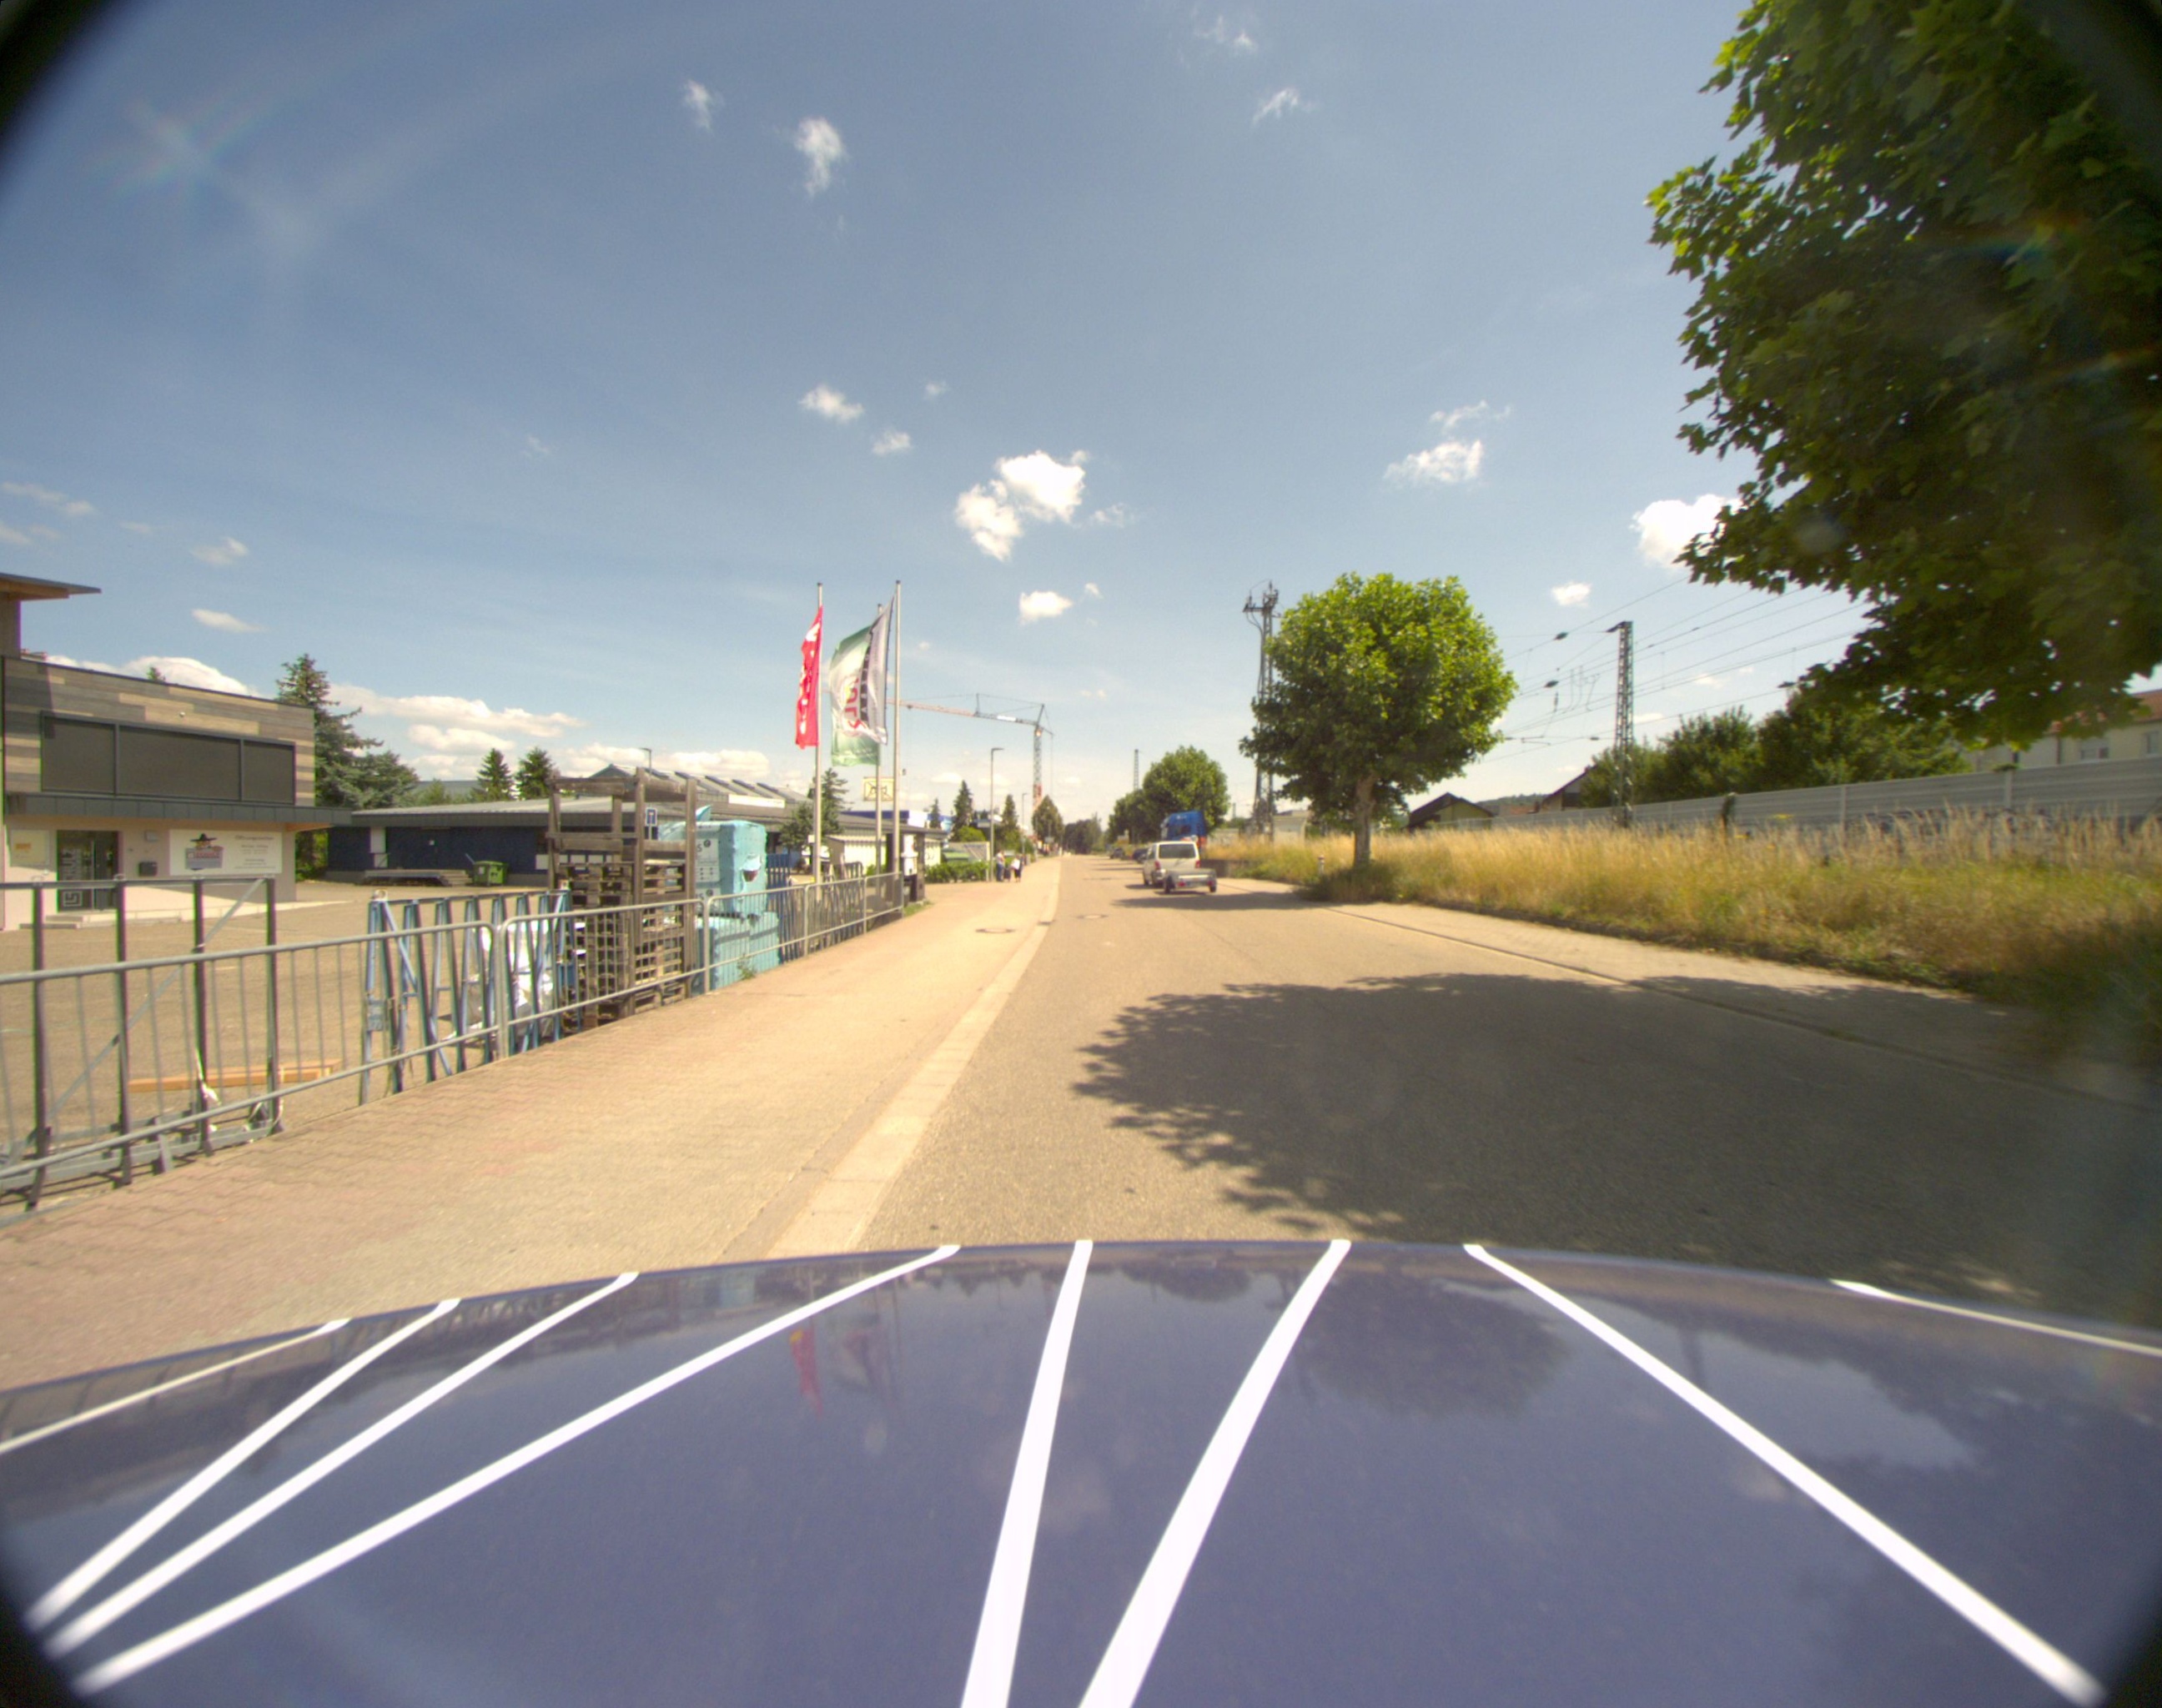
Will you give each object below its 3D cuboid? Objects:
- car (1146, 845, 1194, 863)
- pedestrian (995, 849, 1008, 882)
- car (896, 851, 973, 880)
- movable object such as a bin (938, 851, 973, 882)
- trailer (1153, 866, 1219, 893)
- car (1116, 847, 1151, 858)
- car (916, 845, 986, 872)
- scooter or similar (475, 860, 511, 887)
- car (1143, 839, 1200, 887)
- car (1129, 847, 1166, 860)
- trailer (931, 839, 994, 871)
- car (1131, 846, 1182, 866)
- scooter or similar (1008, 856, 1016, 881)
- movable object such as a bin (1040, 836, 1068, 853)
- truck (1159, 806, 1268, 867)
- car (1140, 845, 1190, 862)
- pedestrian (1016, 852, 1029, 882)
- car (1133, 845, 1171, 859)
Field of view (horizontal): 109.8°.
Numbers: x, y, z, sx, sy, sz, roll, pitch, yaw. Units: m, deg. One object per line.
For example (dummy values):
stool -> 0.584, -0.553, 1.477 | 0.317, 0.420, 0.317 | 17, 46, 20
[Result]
car -> 7.903, -0.007, 67.608 | 3.998, 1.539, 1.999 | -1, 1, -3
pedestrian -> -3.827, 0.542, 36.486 | 0.536, 1.531, 0.510 | 2, 1, -2
car -> -7.993, 0.620, 41.622 | 3.855, 1.447, 1.817 | -1, 1, 0
movable object such as a bin -> -6.045, 0.583, 36.496 | 1.270, 1.450, 1.046 | -2, 1, -38
trailer -> 3.712, 0.885, 27.435 | 1.823, 0.845, 4.222 | 1, 0, 1
car -> 6.968, -0.254, 100.831 | 4.439, 1.402, 1.787 | 0, 1, -3
car -> -8.302, 0.258, 48.863 | 4.224, 1.625, 1.799 | 1, 3, -2
scooter or similar -> -30.573, 1.008, 39.493 | 1.113, 1.314, 0.926 | 1, 3, 9
car -> 3.715, 0.328, 31.815 | 1.843, 1.847, 4.483 | -1, 1, 0
car -> 7.602, -0.080, 87.382 | 4.083, 1.360, 1.674 | -1, 0, 0
trailer -> -8.074, 0.105, 52.189 | 3.997, 2.001, 2.001 | -1, -2, -1
car -> 6.209, 0.131, 62.829 | 3.981, 1.608, 1.850 | 0, 1, -4
scooter or similar -> -3.323, 0.679, 36.376 | 0.334, 1.191, 0.397 | 1, 3, 0
movable object such as a bin -> -5.567, -1.912, 156.284 | 5.133, 3.277, 2.390 | 0, 6, -17
truck -> 8.566, -1.123, 49.582 | 6.632, 3.801, 2.663 | 0, 1, -3
car -> 7.716, -0.050, 70.277 | 4.349, 1.524, 1.926 | -1, 0, -1
pedestrian -> -2.832, 0.621, 36.848 | 0.595, 1.397, 0.583 | 1, 3, -2
car -> 7.583, -0.224, 81.196 | 3.954, 1.442, 1.787 | 0, 1, 4
